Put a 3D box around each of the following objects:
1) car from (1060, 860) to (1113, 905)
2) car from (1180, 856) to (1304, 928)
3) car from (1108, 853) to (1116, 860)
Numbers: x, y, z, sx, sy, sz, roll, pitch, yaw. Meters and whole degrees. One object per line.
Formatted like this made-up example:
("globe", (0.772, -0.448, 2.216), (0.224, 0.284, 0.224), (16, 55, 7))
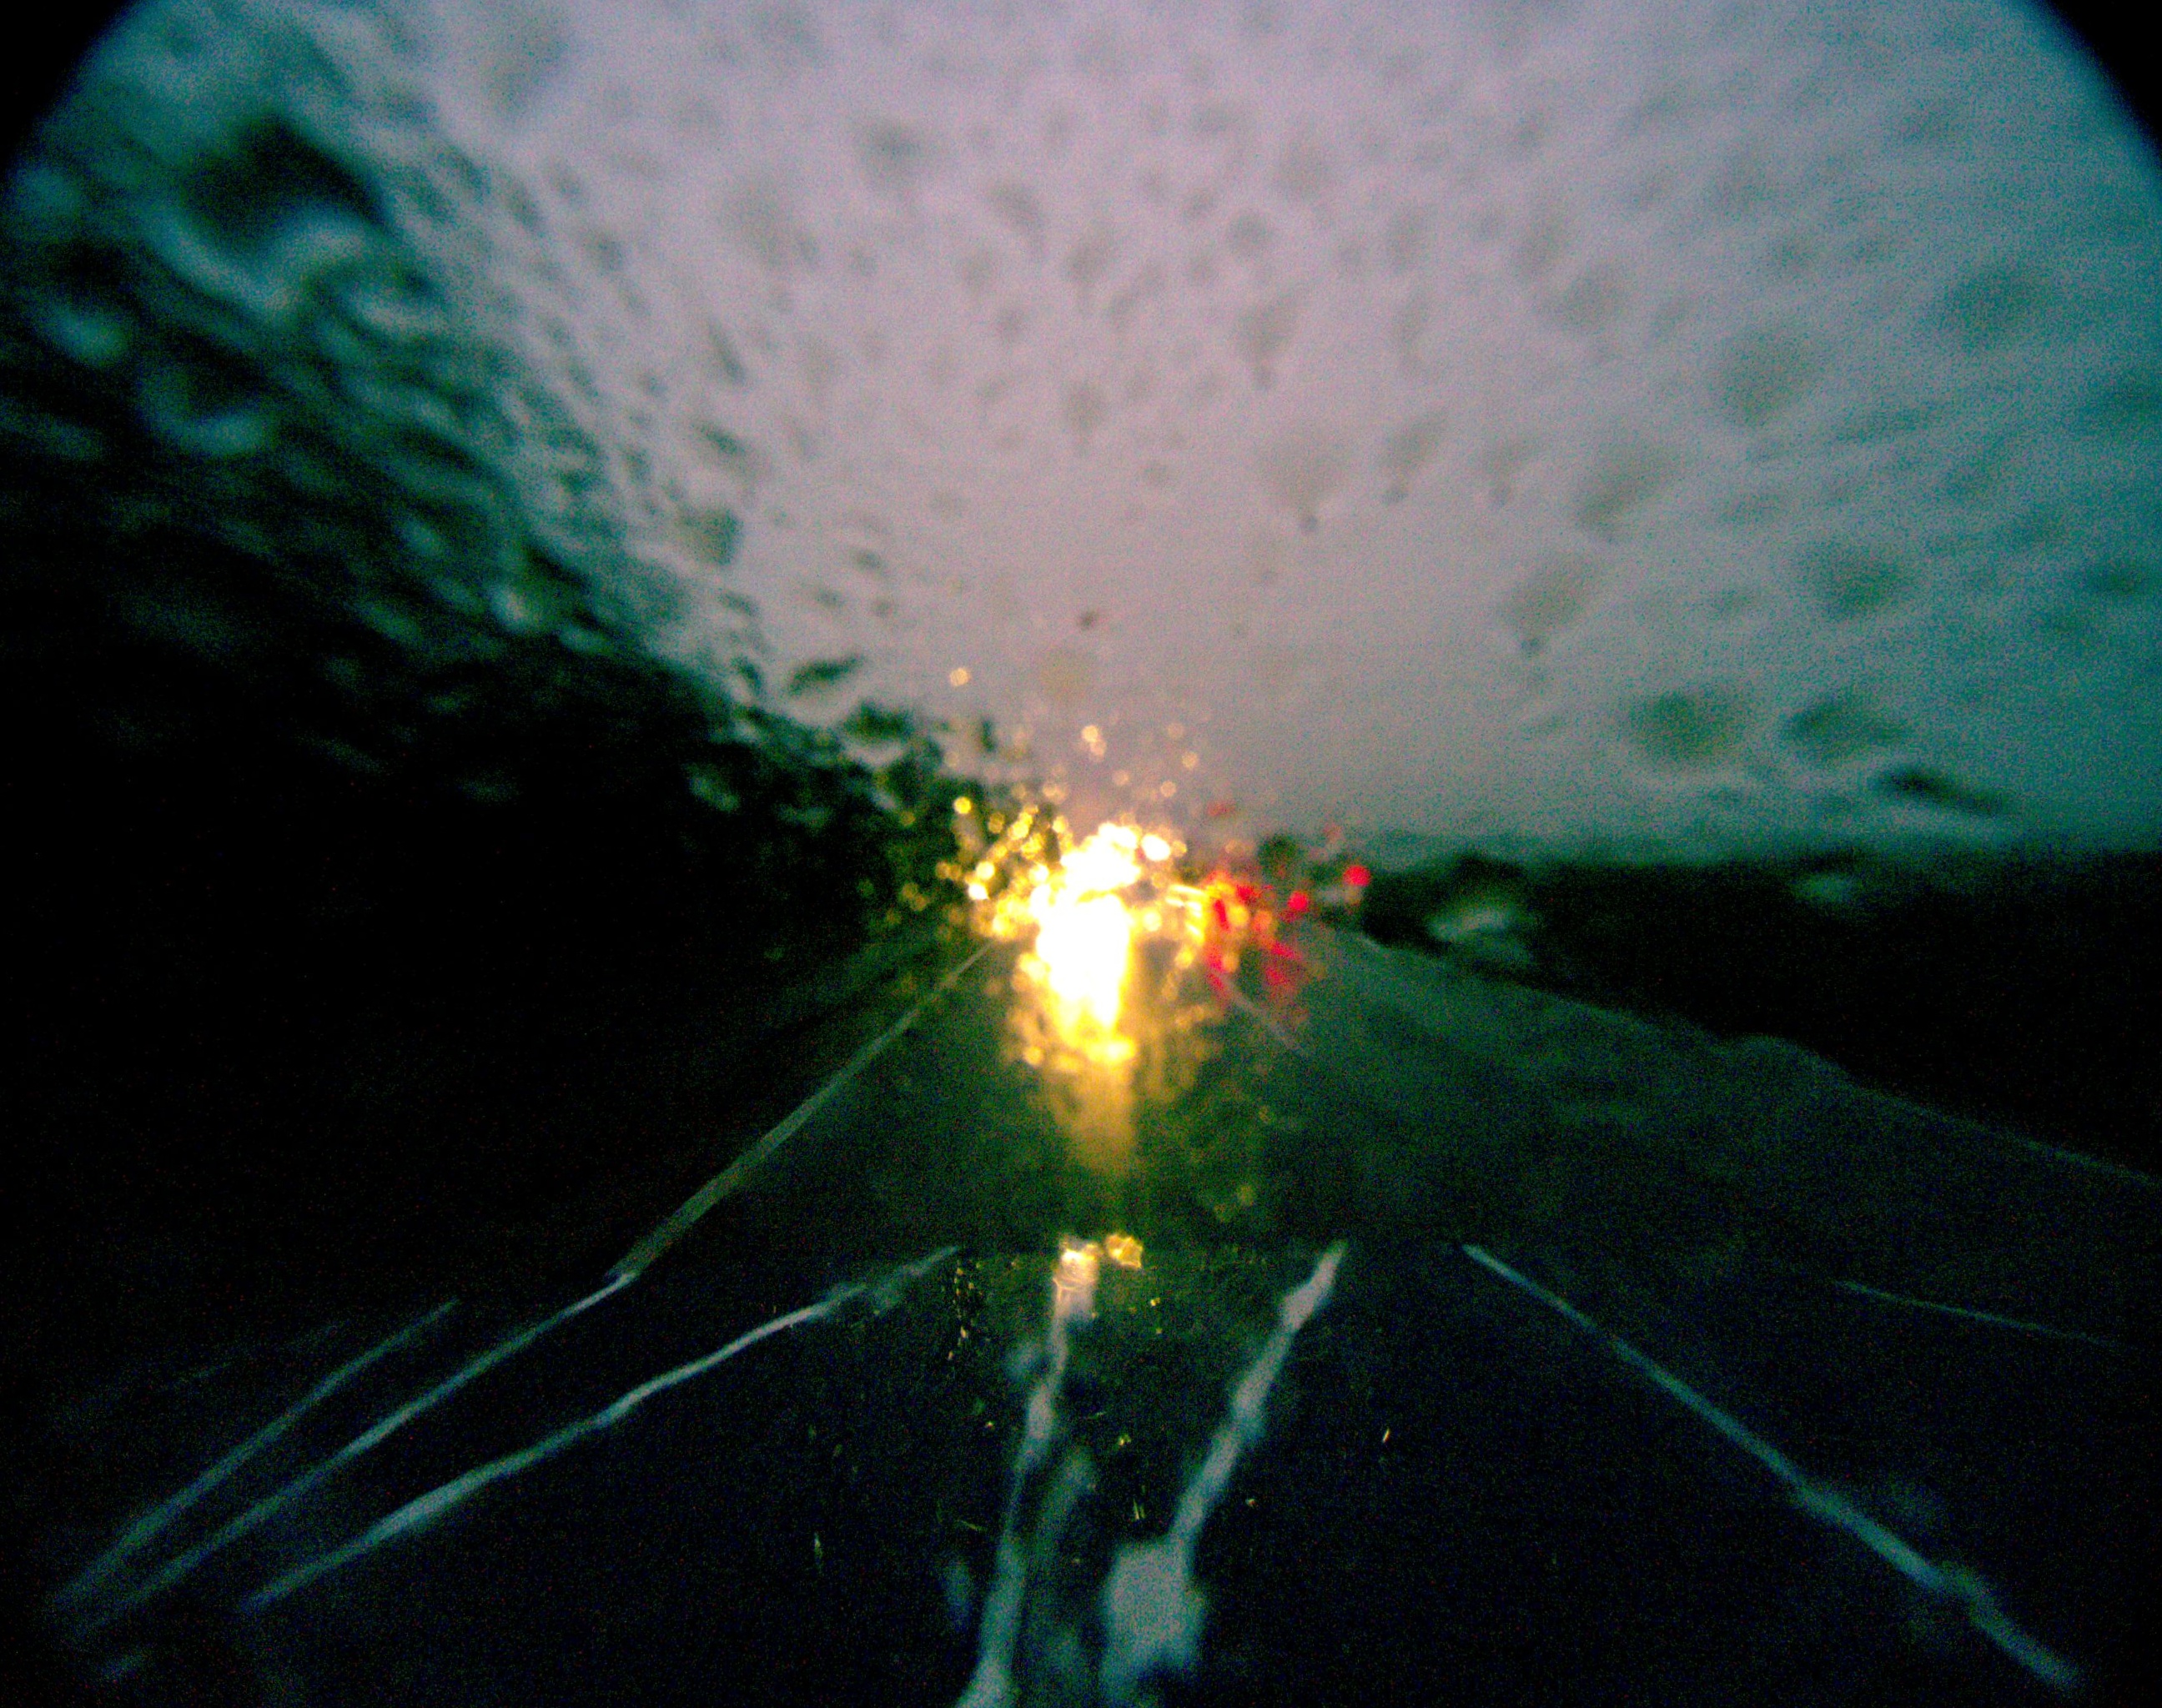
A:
("car", (0.209, 1.033, 29.150), (1.844, 1.484, 3.955), (-2, 1, 0))
("car", (3.604, 0.792, 17.807), (1.998, 1.364, 4.397), (-2, 1, 1))
("car", (6.943, 0.564, 170.082), (1.733, 1.637, 4.261), (2, 0, 1))
